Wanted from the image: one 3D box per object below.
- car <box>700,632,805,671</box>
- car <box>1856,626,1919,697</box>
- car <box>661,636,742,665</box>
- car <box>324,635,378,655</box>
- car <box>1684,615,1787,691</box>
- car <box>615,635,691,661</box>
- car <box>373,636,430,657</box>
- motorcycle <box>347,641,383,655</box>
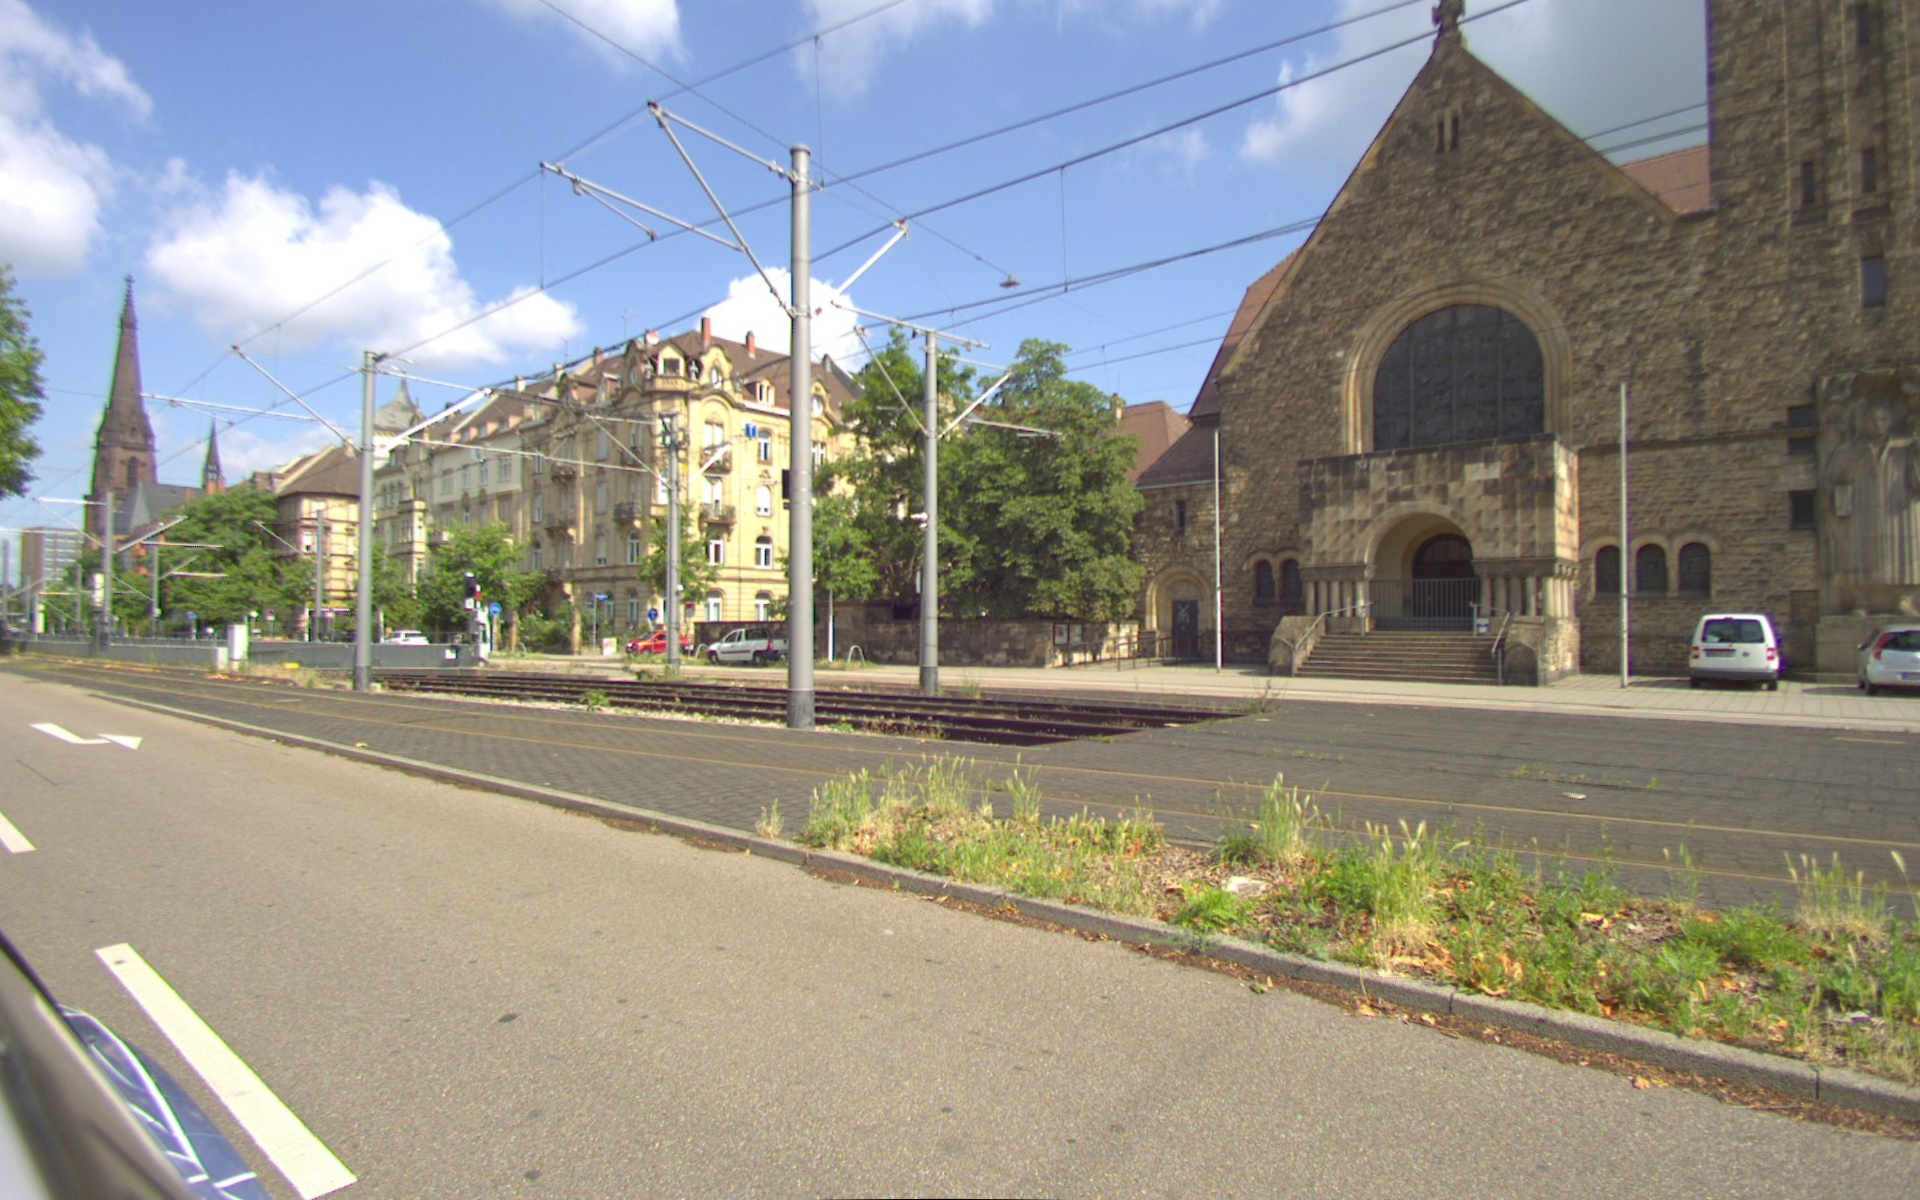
[{"bbox_3d":[-8.562,2.068,41.582,4.410,1.516,1.911,-2,-3,39],"label":"car"},{"bbox_3d":[21.537,1.355,22.808,1.853,1.514,3.232,-2,-3,39],"label":"car"},{"bbox_3d":[-13.804,2.667,54.148,1.723,1.475,3.921,-2,-3,41],"label":"car"},{"bbox_3d":[-42.991,3.146,71.417,4.096,1.337,2.000,-2,-3,39],"label":"car"},{"bbox_3d":[19.574,1.294,25.557,1.892,1.762,3.832,-2,-3,38],"label":"car"},{"bbox_3d":[-17.705,2.756,58.395,1.933,1.475,3.738,-2,-3,44],"label":"car"},{"bbox_3d":[-36.276,2.977,65.658,4.308,1.338,1.734,-2,-3,39],"label":"car"},{"bbox_3d":[-40.858,3.289,69.524,1.416,0.949,1.742,-2,-4,40],"label":"motorcycle"}]
